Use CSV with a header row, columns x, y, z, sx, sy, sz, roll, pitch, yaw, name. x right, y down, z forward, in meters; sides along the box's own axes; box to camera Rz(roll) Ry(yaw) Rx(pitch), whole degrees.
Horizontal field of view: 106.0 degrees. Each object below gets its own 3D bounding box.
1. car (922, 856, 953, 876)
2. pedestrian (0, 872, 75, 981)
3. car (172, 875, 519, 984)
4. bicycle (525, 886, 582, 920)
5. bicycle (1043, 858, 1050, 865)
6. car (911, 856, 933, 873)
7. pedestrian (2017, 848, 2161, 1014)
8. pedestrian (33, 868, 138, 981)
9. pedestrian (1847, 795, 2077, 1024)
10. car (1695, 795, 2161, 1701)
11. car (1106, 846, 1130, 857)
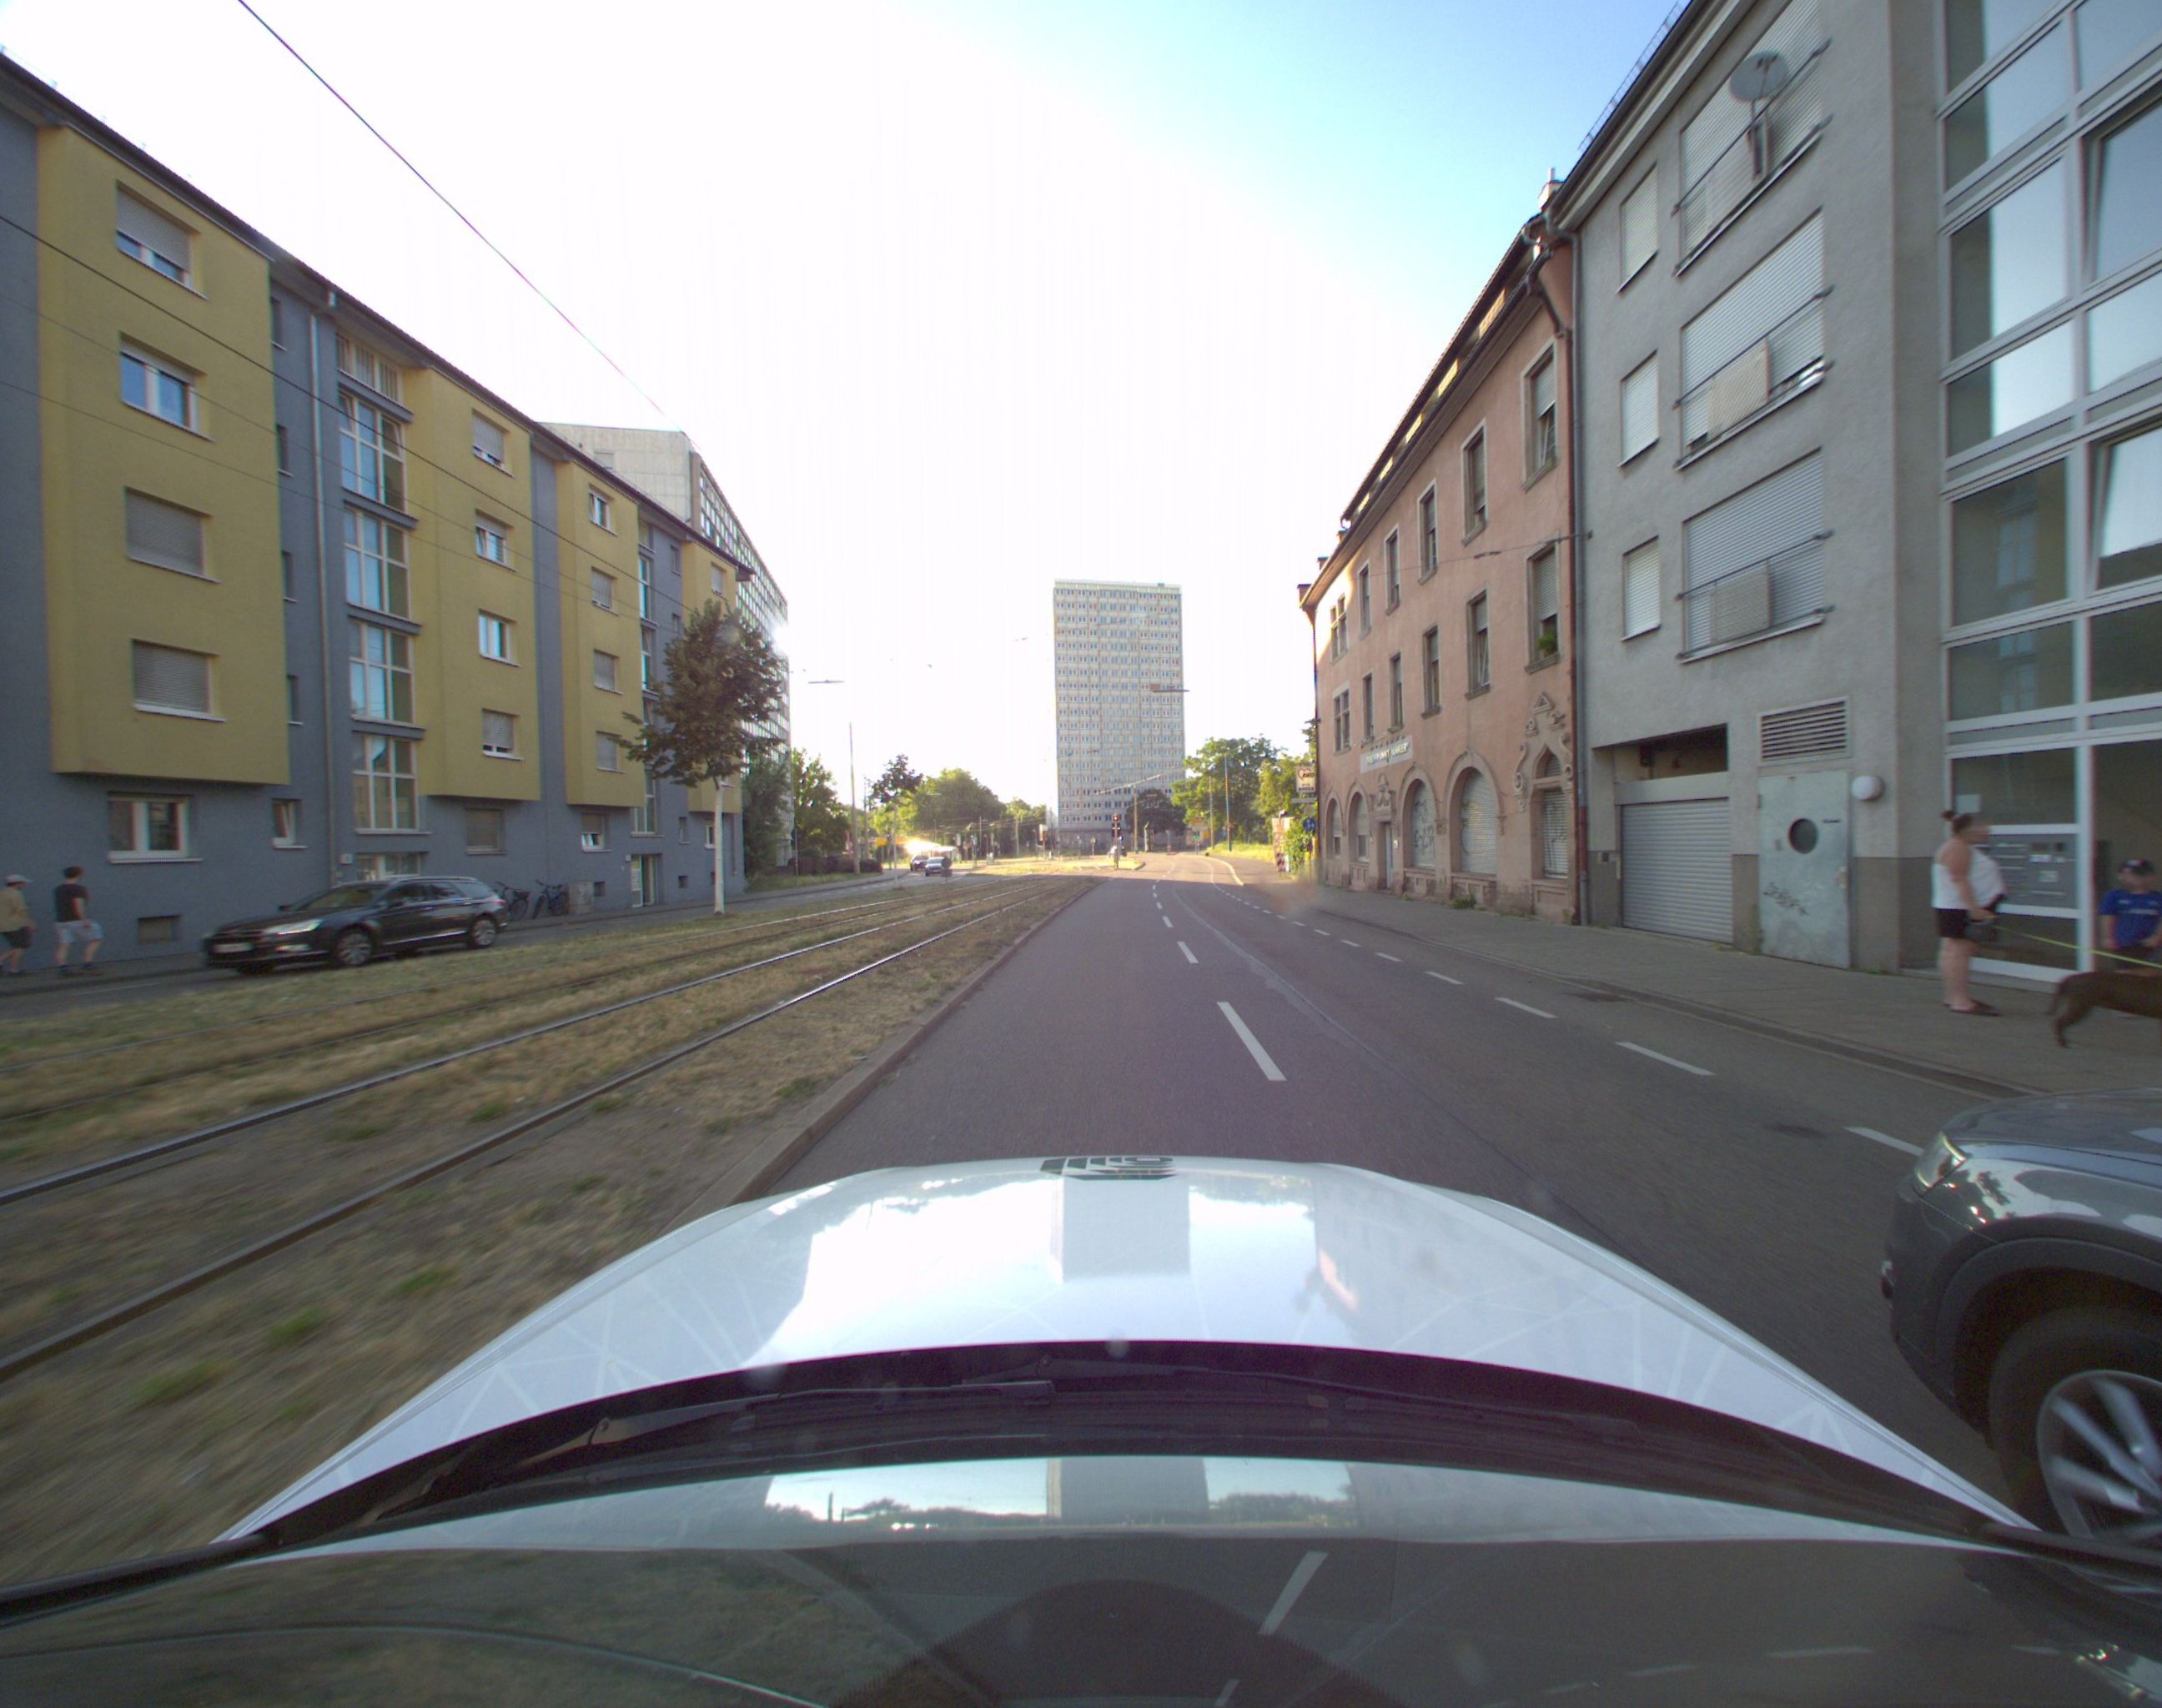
x,y,z,sx,sy,sz,roll,pitch,yaw,name
-11.747,0.964,67.020,1.692,1.460,4.316,-3,0,0,car
-17.401,1.178,13.461,0.614,1.694,0.707,3,0,2,pedestrian
-12.991,1.228,14.941,1.786,1.469,4.799,-4,-1,3,car
-16.753,1.538,25.910,0.425,0.960,1.914,-2,0,4,bicycle
-5.308,1.172,125.489,0.550,0.917,1.748,-4,1,10,bicycle
-17.091,1.076,87.194,1.922,1.661,4.684,-3,1,-15,car
8.197,0.592,6.570,0.585,1.251,0.585,-2,0,2,pedestrian
-16.624,1.147,13.620,0.590,1.773,0.886,3,0,2,pedestrian
7.371,0.432,6.880,0.826,1.771,0.996,-2,0,2,pedestrian
2.738,0.681,0.446,1.760,1.587,4.068,-2,1,1,car
5.109,-0.405,113.458,1.781,1.422,3.825,-3,1,-24,car
